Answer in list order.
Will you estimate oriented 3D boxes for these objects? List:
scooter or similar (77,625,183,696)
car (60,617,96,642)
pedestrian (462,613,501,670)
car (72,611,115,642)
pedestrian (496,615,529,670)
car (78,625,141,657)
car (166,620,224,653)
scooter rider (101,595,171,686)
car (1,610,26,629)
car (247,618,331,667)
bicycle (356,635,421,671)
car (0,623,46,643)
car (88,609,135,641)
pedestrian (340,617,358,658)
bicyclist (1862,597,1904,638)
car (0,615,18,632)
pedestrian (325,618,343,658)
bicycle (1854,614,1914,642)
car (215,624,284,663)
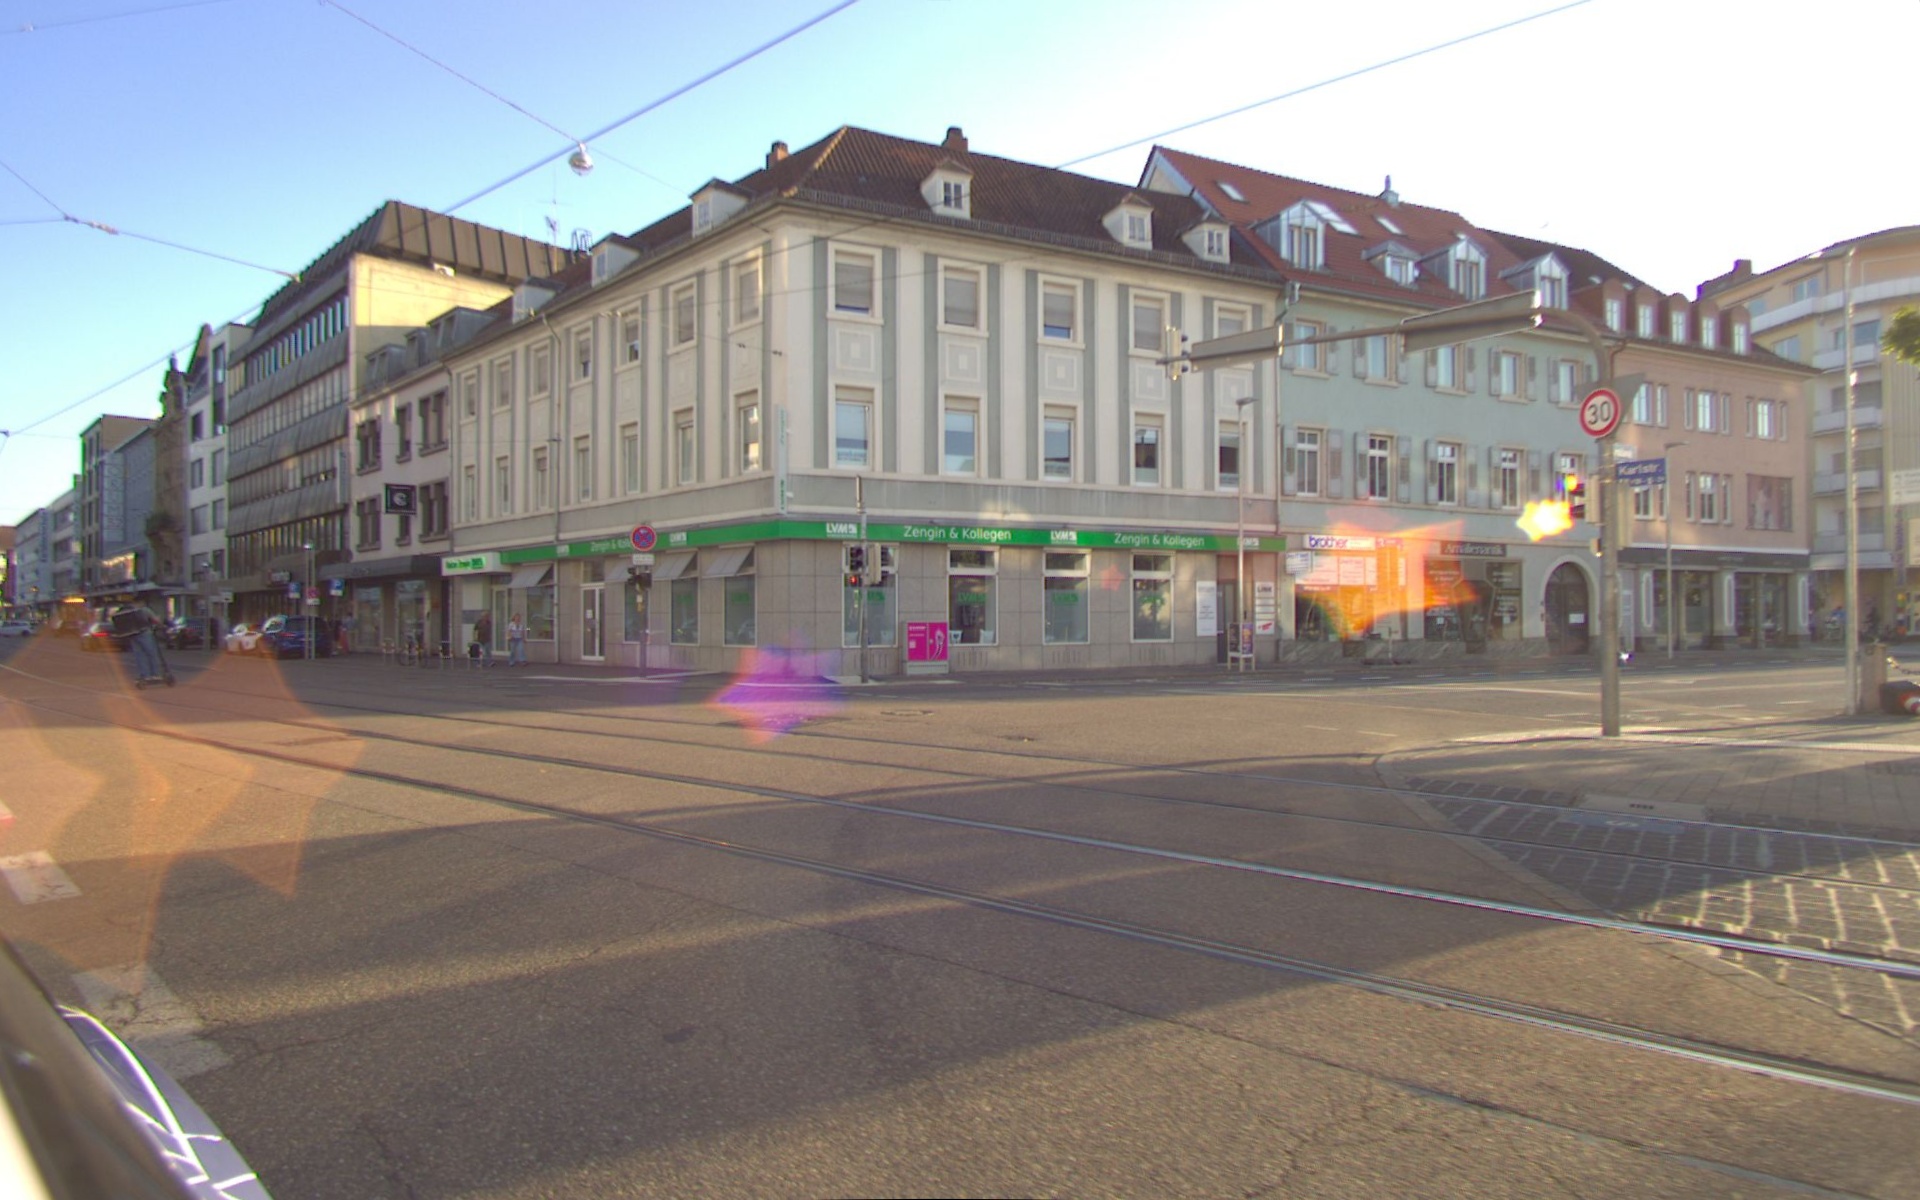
[{"bbox_3d":[-16.793,1.194,20.518,0.541,1.361,1.661,-1,-1,14],"label":"scooter or similar"},{"bbox_3d":[-74.568,2.485,85.545,4.000,1.932,1.809,1,0,42],"label":"car"},{"bbox_3d":[-14.956,1.285,31.639,0.813,1.741,0.816,-2,0,42],"label":"pedestrian"},{"bbox_3d":[-62.131,1.848,72.549,4.001,2.074,1.971,1,0,44],"label":"car"},{"bbox_3d":[-13.686,1.292,30.959,0.814,1.653,0.816,-1,-1,-31],"label":"pedestrian"},{"bbox_3d":[-42.220,2.052,50.212,4.543,1.491,1.869,-3,-4,44],"label":"car"},{"bbox_3d":[-40.209,1.893,53.159,4.000,1.569,1.795,1,0,43],"label":"car"},{"bbox_3d":[-16.781,0.805,20.624,0.806,1.821,0.784,-1,0,15],"label":"scooter rider"},{"bbox_3d":[-116.193,2.368,124.217,4.134,2.210,1.949,1,0,43],"label":"car"},{"bbox_3d":[-27.296,1.679,41.125,4.129,1.809,1.889,-1,1,42],"label":"car"},{"bbox_3d":[-18.120,1.677,32.099,1.715,1.067,0.499,0,-4,-39],"label":"bicycle"},{"bbox_3d":[-85.908,2.978,92.015,3.774,1.761,1.811,1,0,-11],"label":"car"},{"bbox_3d":[-57.098,1.672,68.070,4.001,2.029,1.971,1,0,43],"label":"car"},{"bbox_3d":[-26.699,1.629,44.235,0.601,1.747,0.509,1,0,43],"label":"pedestrian"},{"bbox_3d":[41.238,0.779,45.225,0.753,1.804,1.135,1,0,-8],"label":"bicyclist"},{"bbox_3d":[-121.673,2.934,128.990,3.998,2.029,1.935,1,0,41],"label":"car"},{"bbox_3d":[-27.007,1.648,43.664,0.584,1.697,0.503,0,0,42],"label":"pedestrian"},{"bbox_3d":[41.219,1.233,45.162,0.492,1.213,2.128,1,0,-8],"label":"bicycle"},{"bbox_3d":[-31.744,1.912,45.187,3.999,1.636,1.678,-2,-1,42],"label":"car"}]
